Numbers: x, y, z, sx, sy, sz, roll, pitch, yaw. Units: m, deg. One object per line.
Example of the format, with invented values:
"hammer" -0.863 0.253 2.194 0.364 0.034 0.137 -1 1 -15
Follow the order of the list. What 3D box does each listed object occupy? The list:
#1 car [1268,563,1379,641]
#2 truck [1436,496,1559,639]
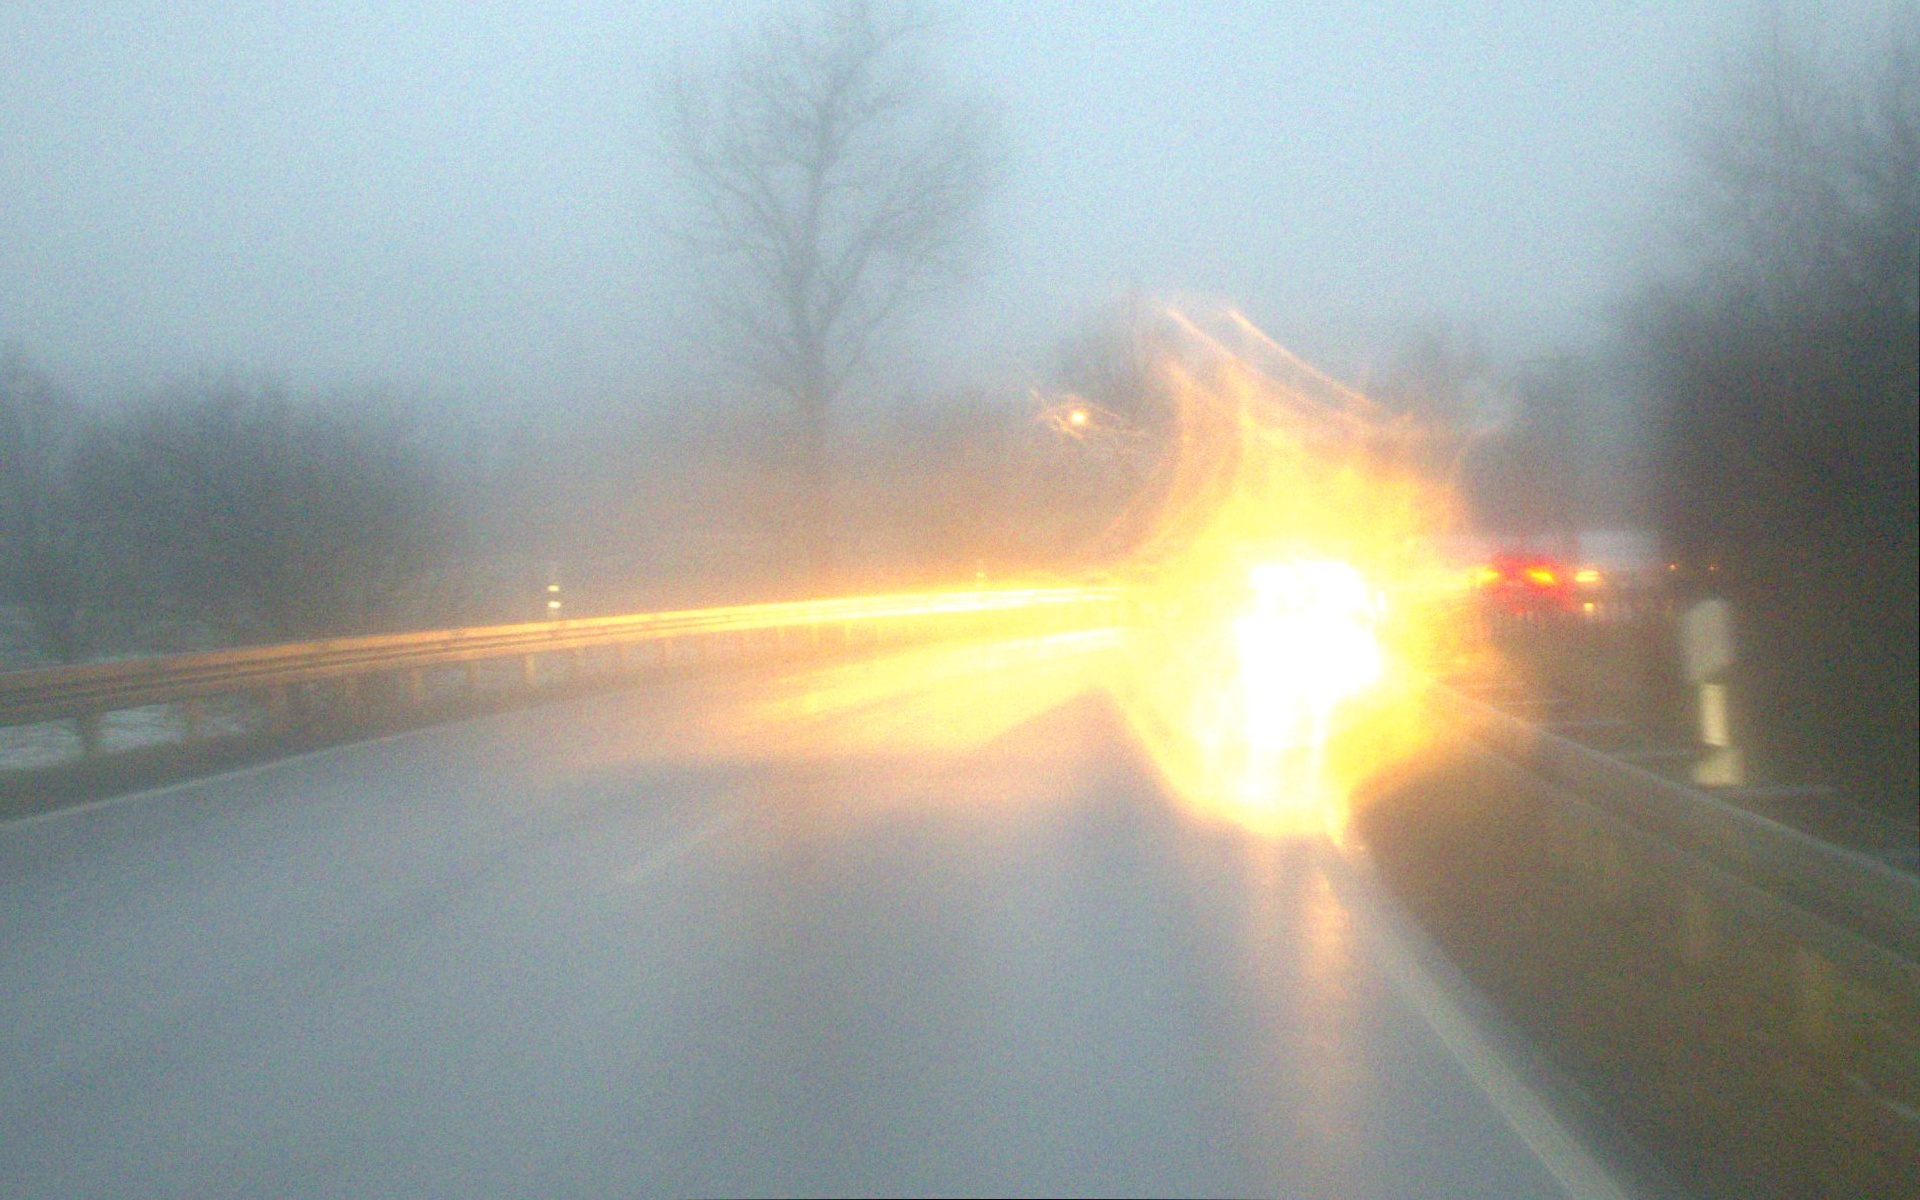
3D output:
"car" 8.008 0.017 75.396 2.011 1.629 4.871 0 1 11
"truck" 12.690 -0.832 81.503 2.533 2.858 5.921 5 4 7
